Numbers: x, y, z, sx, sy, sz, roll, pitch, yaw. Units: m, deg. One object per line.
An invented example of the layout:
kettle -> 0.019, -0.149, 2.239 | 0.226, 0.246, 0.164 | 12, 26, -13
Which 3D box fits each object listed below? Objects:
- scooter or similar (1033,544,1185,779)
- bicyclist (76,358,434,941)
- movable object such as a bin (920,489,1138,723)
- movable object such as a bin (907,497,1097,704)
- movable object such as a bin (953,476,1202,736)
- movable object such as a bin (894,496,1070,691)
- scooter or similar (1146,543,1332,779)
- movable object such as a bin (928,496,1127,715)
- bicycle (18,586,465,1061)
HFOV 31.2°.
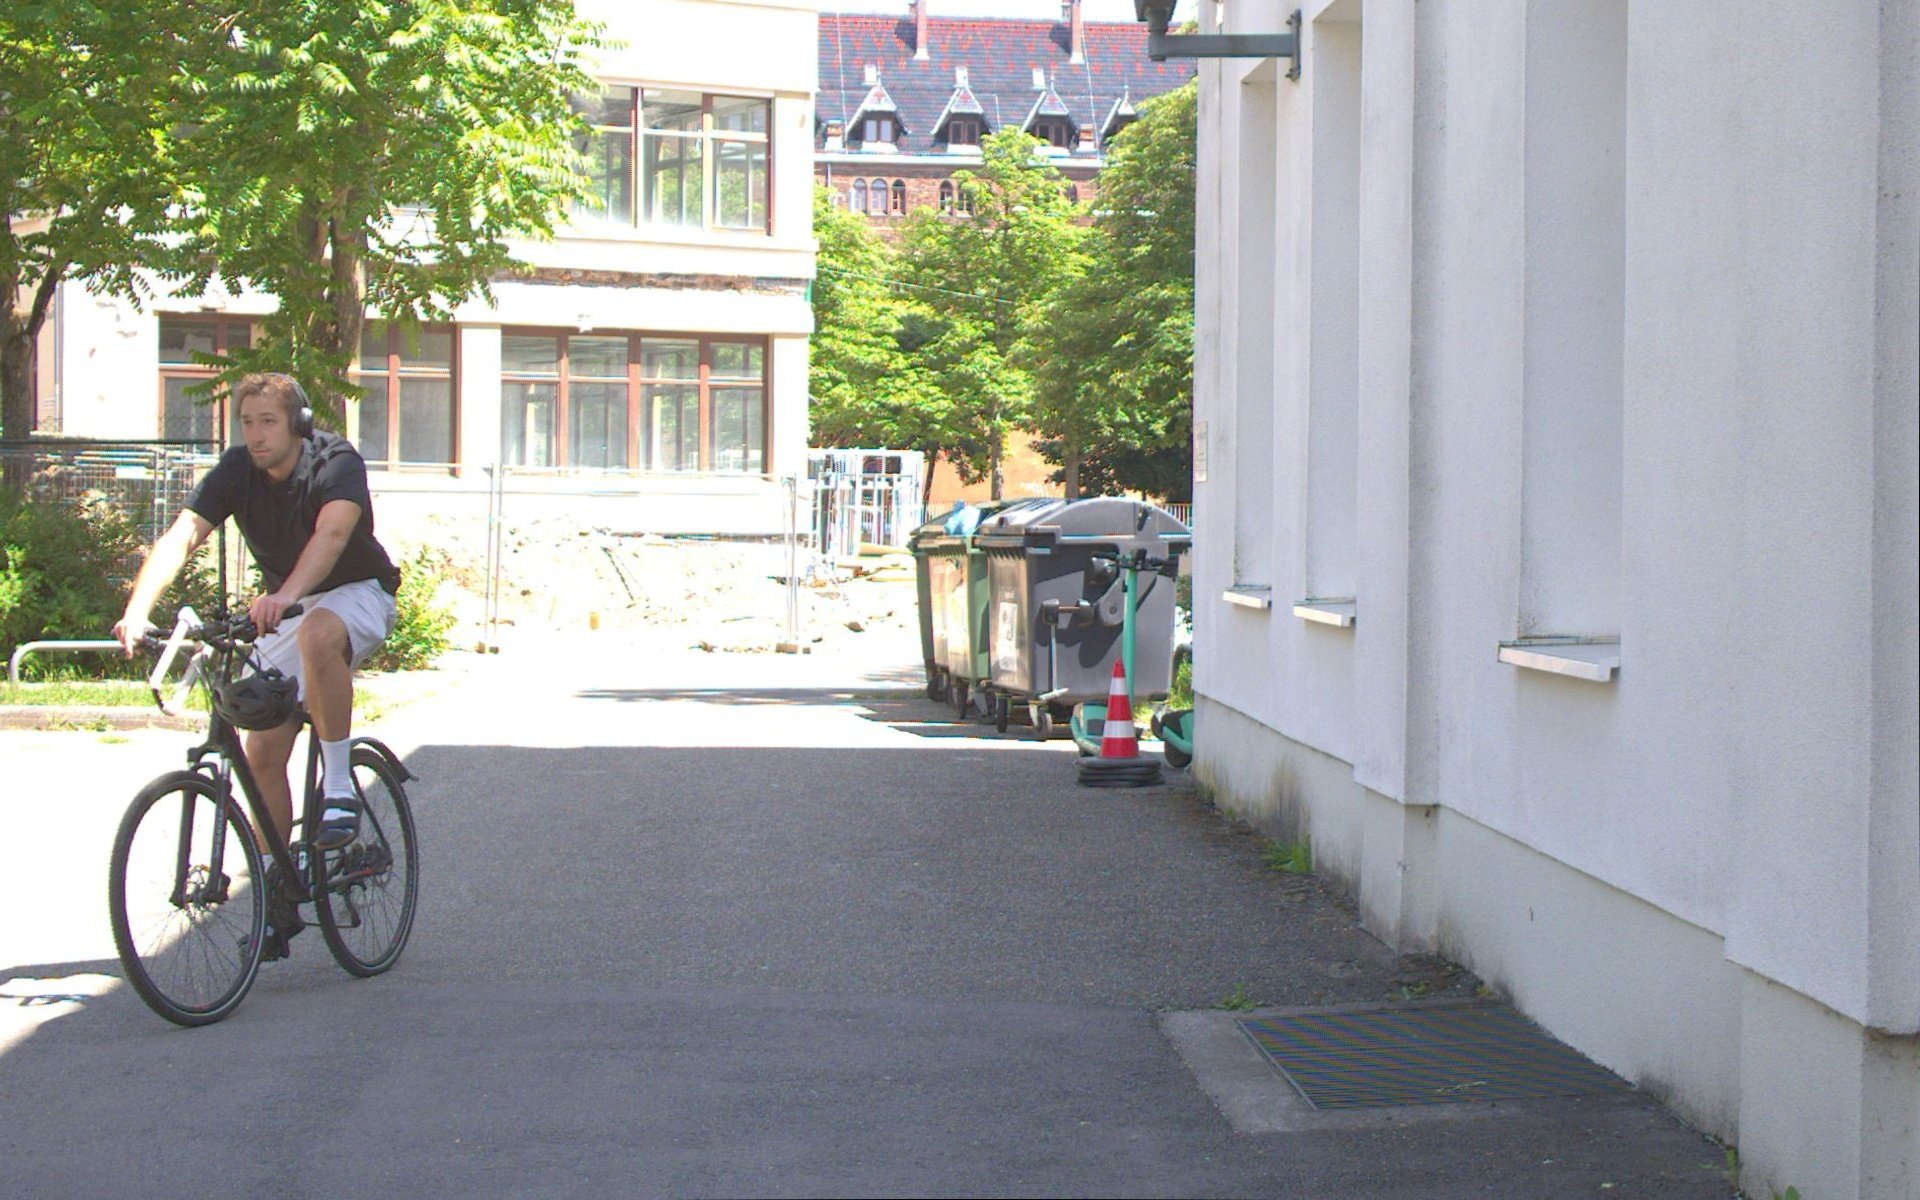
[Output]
scooter or similar -> 0.765, 0.299, 17.968 | 0.463, 1.170, 1.357 | 0, 1, -12
bicyclist -> -2.033, 0.113, 10.016 | 0.723, 1.603, 0.978 | 1, 3, 9
movable object such as a bin -> 0.433, 0.033, 22.439 | 1.178, 1.465, 1.312 | 1, 0, -9
movable object such as a bin -> 0.293, -0.003, 25.262 | 1.178, 1.465, 1.312 | 1, 0, -9
movable object such as a bin -> 0.685, 0.030, 20.715 | 1.154, 1.500, 1.463 | 1, 0, -12
movable object such as a bin -> 0.185, -0.055, 26.798 | 1.179, 1.465, 1.332 | 1, 0, 8
scooter or similar -> 1.432, 0.295, 17.828 | 0.463, 1.170, 1.256 | 0, 1, -20
movable object such as a bin -> 0.452, 0.032, 23.827 | 1.178, 1.465, 1.312 | 1, 0, -7
bicycle -> -2.042, 0.585, 10.038 | 0.644, 1.170, 1.904 | 1, 2, 9
